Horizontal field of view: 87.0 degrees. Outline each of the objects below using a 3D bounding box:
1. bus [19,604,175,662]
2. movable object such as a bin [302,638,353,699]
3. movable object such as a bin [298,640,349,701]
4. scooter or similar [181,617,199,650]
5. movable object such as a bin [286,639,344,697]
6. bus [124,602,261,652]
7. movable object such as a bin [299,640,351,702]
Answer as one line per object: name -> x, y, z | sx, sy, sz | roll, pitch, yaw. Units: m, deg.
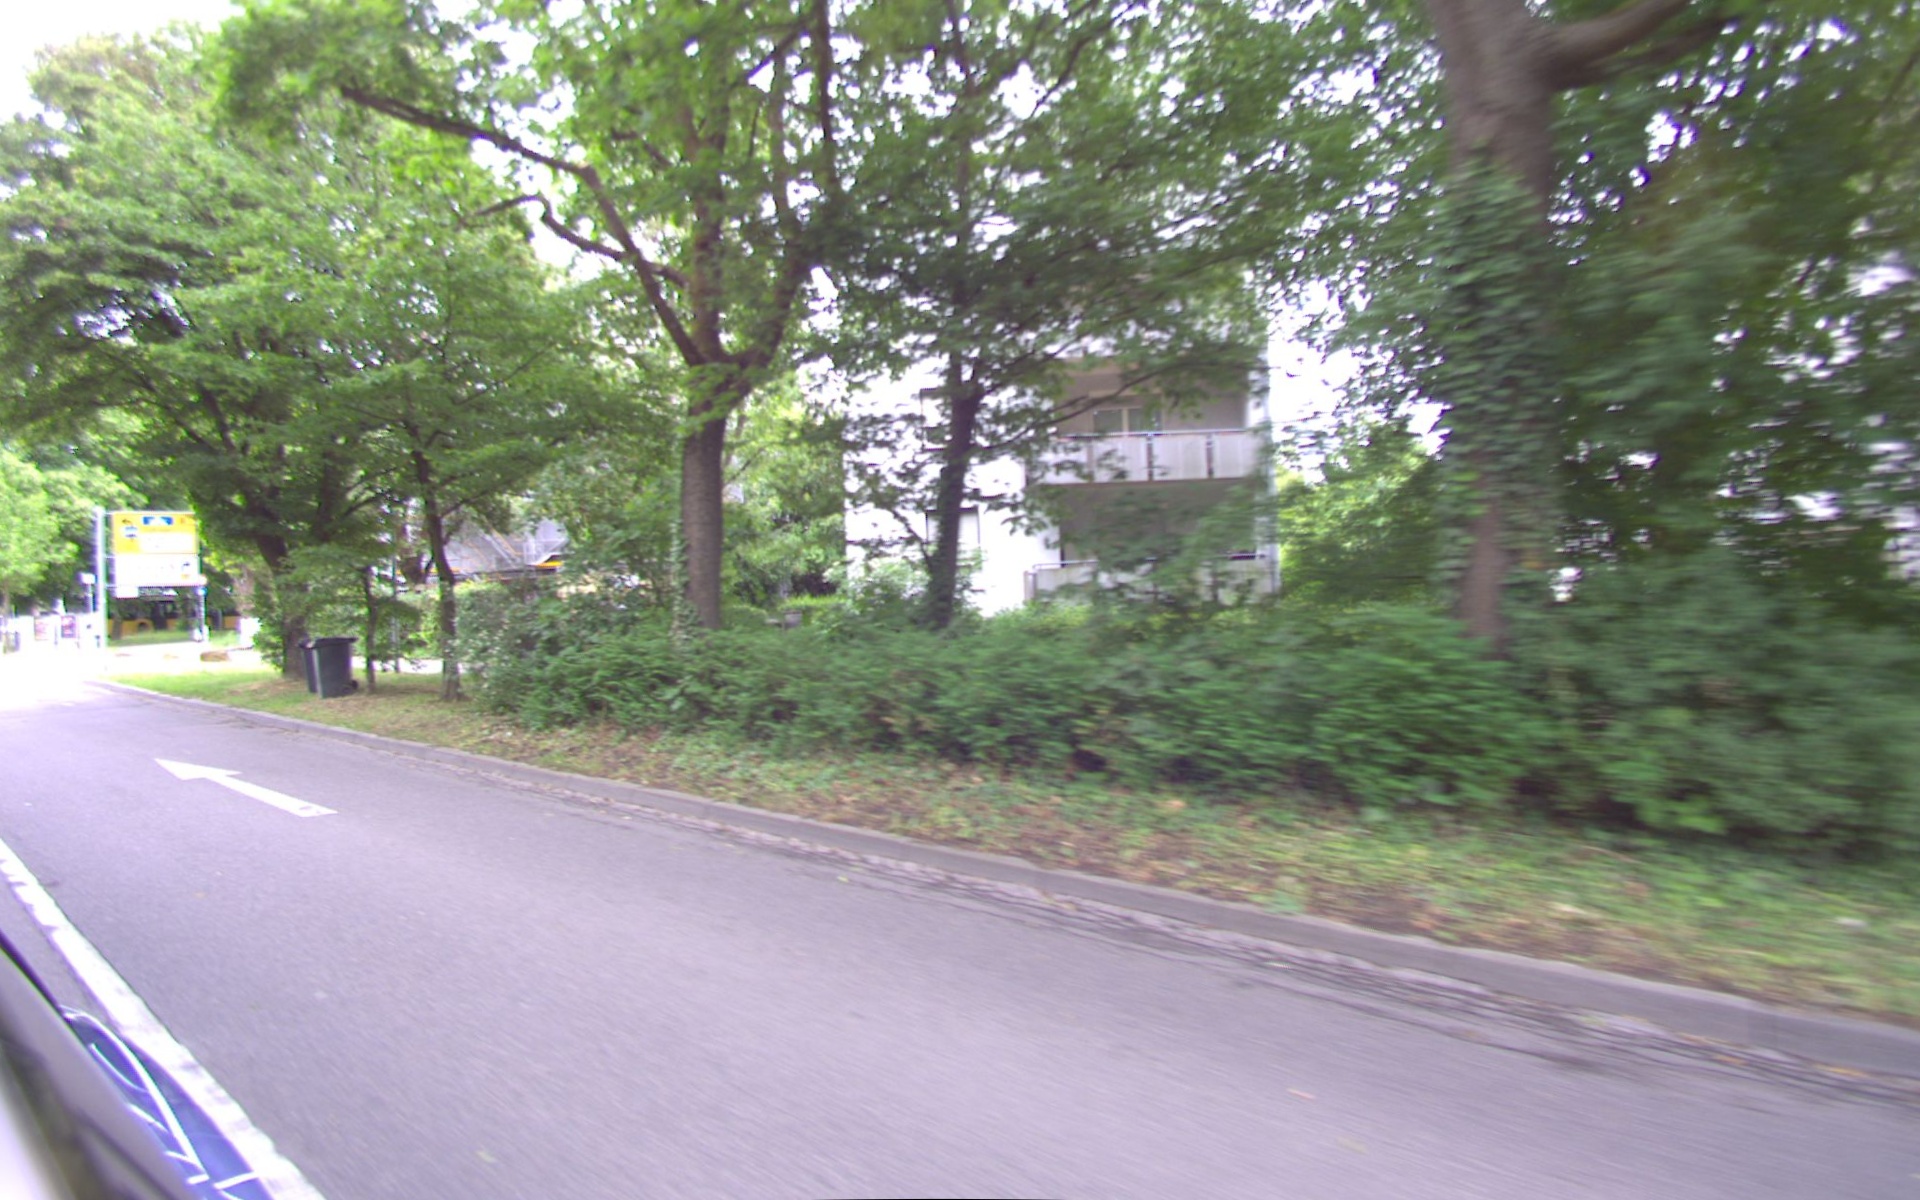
bus -> -54.267, 1.980, 64.013 | 3.007, 3.031, 8.440 | -4, 1, -5
movable object such as a bin -> -10.263, 1.101, 16.441 | 0.610, 0.885, 0.595 | -4, 2, -28
movable object such as a bin -> -9.988, 1.098, 15.890 | 0.590, 0.872, 0.580 | -4, 2, -28
scooter or similar -> -35.542, 1.540, 46.713 | 0.547, 1.456, 1.595 | -5, 2, -39
movable object such as a bin -> -10.735, 1.119, 16.868 | 0.718, 0.869, 0.624 | -4, 2, -28
bus -> -55.051, 1.830, 73.052 | 3.007, 3.031, 9.708 | -4, 1, -5
movable object such as a bin -> -9.698, 1.075, 15.472 | 0.590, 0.851, 0.580 | -4, 2, -28
